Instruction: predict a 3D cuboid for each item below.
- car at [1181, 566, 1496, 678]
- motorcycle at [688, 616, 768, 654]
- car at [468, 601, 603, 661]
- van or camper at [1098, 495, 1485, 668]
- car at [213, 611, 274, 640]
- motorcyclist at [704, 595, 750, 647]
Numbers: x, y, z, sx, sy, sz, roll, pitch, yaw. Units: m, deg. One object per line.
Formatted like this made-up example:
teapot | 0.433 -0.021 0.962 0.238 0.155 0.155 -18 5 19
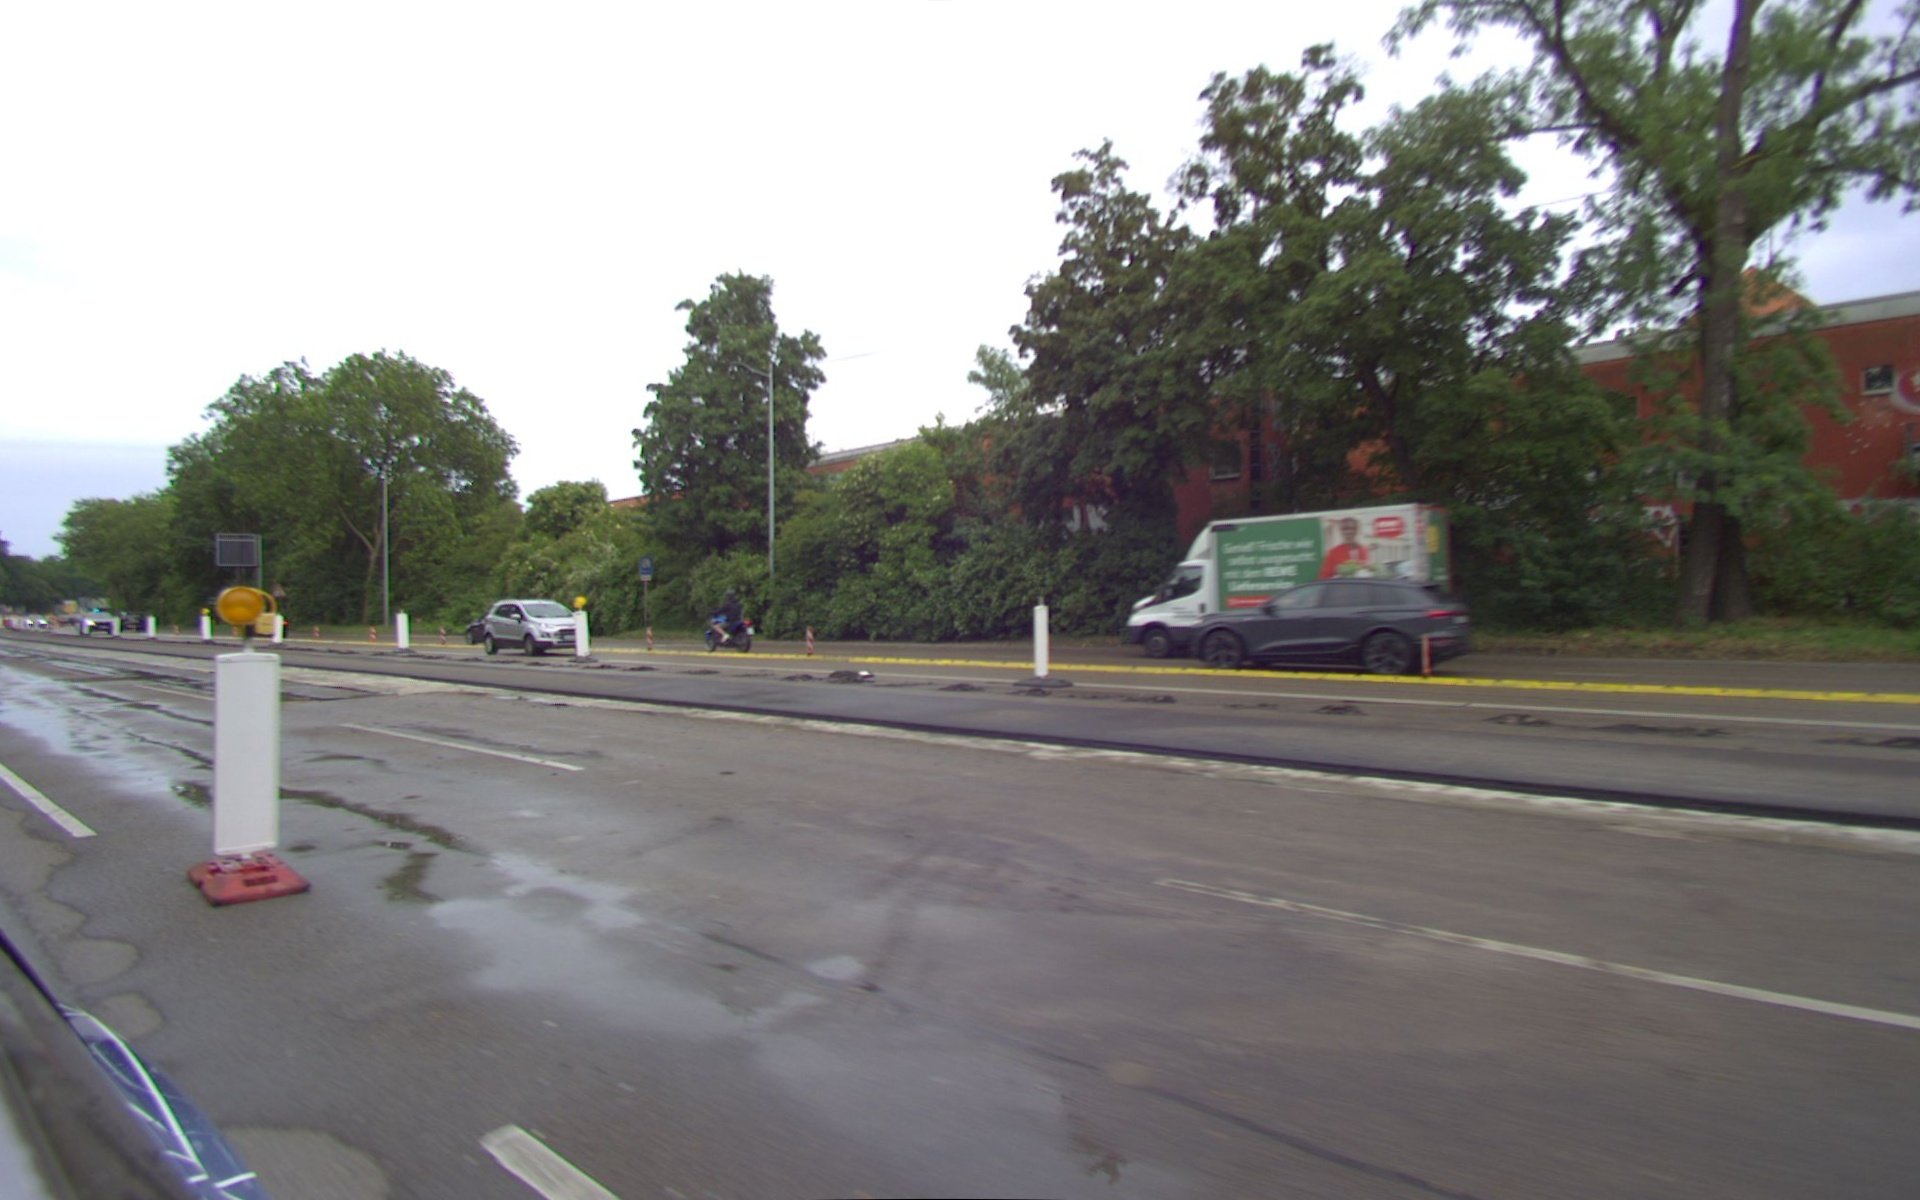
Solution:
car | 6.532 0.377 17.802 4.804 1.706 1.973 -1 -1 41
motorcycle | -6.539 0.972 28.456 2.592 0.996 0.800 -1 1 41
car | -12.545 0.894 29.785 4.361 1.575 1.869 -2 1 41
van or camper | 6.694 -0.282 21.375 7.448 3.086 2.274 -1 0 41
car | -41.791 1.479 59.009 4.396 1.563 1.869 -1 2 41
motorcyclist | -6.535 0.584 28.418 0.975 1.421 0.805 -1 1 41
